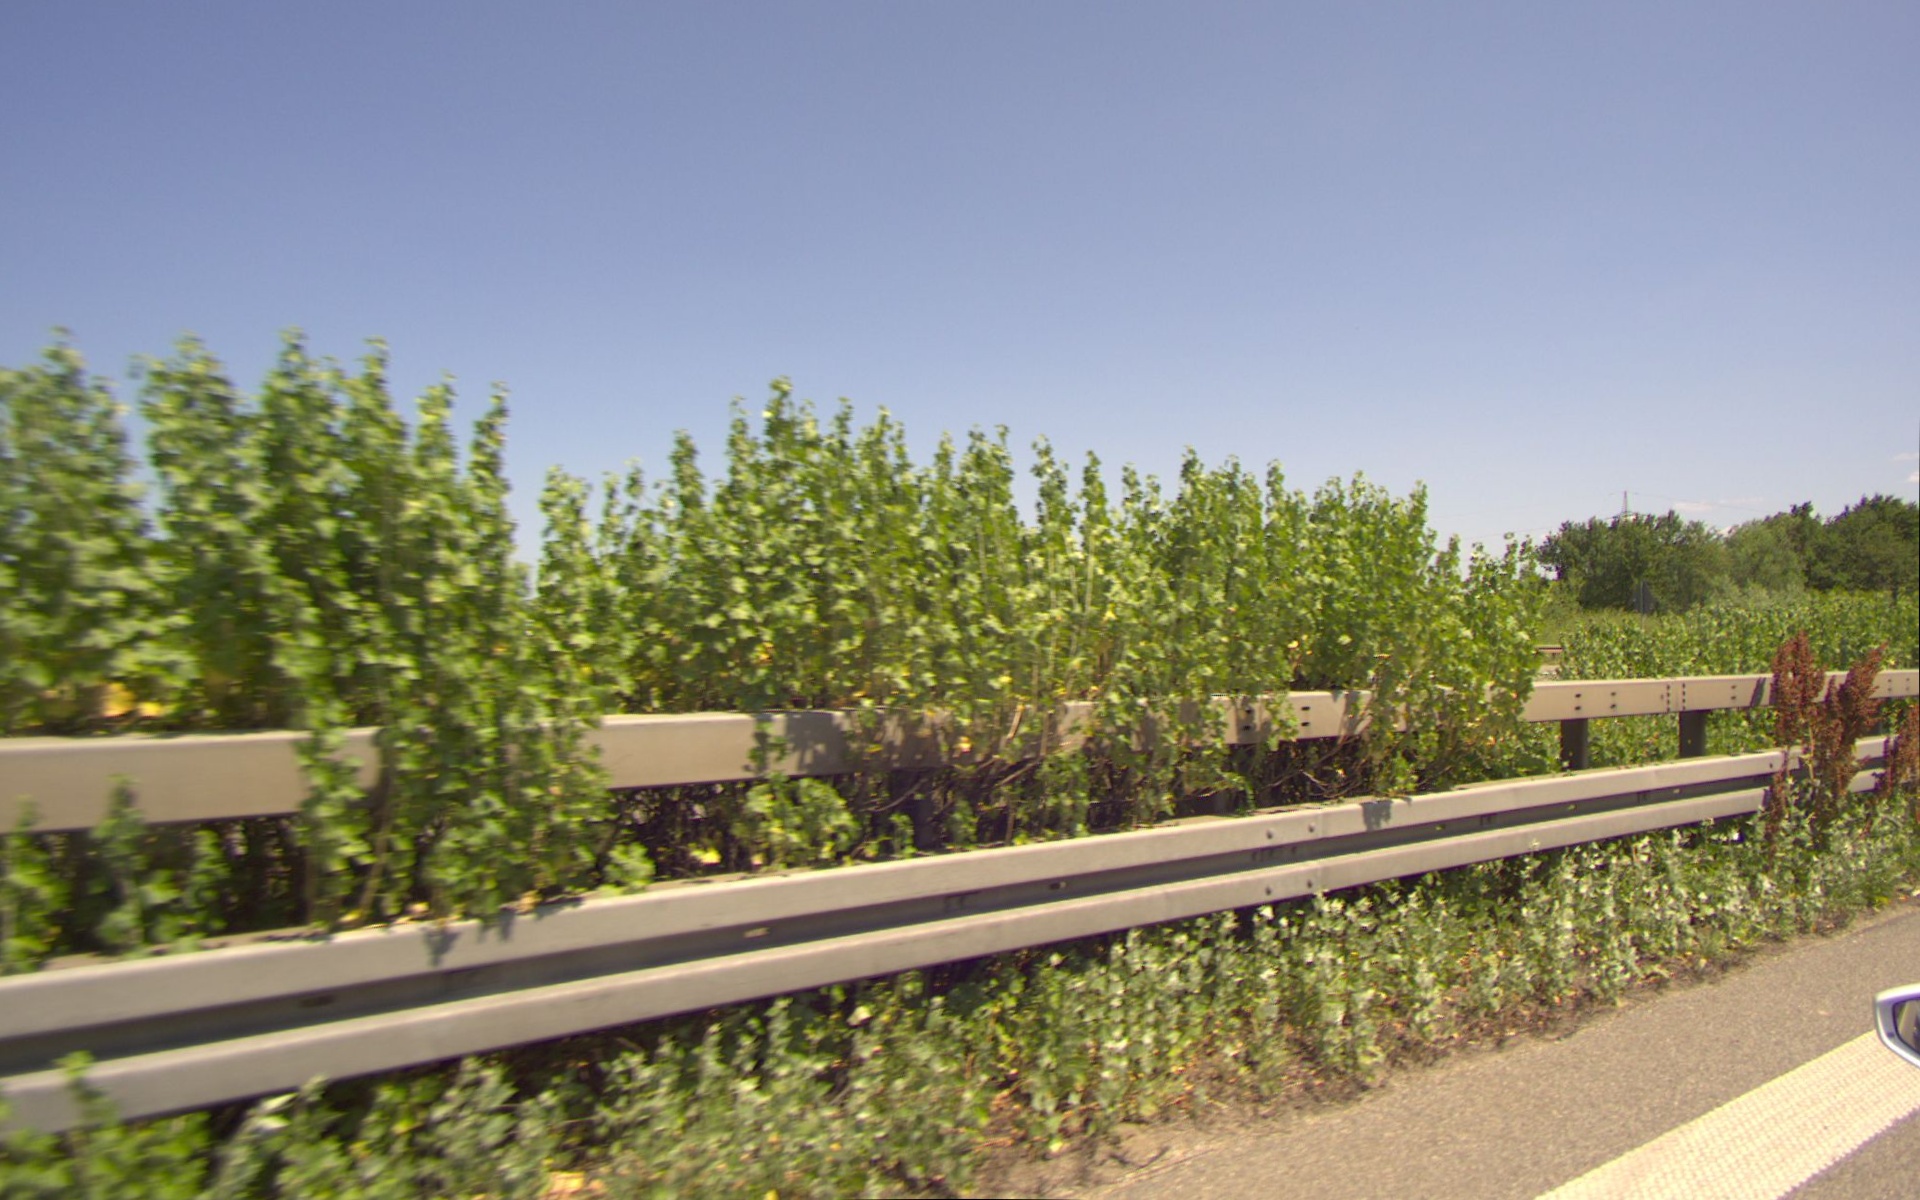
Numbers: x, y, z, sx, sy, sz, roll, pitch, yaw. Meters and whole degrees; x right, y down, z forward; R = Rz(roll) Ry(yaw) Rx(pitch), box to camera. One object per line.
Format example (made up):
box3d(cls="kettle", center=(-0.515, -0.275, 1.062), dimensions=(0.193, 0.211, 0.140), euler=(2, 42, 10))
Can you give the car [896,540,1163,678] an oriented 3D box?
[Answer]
box3d(cls="car", center=(1.074, 0.146, 15.108), dimensions=(3.724, 1.852, 1.622), euler=(1, 0, -30))
